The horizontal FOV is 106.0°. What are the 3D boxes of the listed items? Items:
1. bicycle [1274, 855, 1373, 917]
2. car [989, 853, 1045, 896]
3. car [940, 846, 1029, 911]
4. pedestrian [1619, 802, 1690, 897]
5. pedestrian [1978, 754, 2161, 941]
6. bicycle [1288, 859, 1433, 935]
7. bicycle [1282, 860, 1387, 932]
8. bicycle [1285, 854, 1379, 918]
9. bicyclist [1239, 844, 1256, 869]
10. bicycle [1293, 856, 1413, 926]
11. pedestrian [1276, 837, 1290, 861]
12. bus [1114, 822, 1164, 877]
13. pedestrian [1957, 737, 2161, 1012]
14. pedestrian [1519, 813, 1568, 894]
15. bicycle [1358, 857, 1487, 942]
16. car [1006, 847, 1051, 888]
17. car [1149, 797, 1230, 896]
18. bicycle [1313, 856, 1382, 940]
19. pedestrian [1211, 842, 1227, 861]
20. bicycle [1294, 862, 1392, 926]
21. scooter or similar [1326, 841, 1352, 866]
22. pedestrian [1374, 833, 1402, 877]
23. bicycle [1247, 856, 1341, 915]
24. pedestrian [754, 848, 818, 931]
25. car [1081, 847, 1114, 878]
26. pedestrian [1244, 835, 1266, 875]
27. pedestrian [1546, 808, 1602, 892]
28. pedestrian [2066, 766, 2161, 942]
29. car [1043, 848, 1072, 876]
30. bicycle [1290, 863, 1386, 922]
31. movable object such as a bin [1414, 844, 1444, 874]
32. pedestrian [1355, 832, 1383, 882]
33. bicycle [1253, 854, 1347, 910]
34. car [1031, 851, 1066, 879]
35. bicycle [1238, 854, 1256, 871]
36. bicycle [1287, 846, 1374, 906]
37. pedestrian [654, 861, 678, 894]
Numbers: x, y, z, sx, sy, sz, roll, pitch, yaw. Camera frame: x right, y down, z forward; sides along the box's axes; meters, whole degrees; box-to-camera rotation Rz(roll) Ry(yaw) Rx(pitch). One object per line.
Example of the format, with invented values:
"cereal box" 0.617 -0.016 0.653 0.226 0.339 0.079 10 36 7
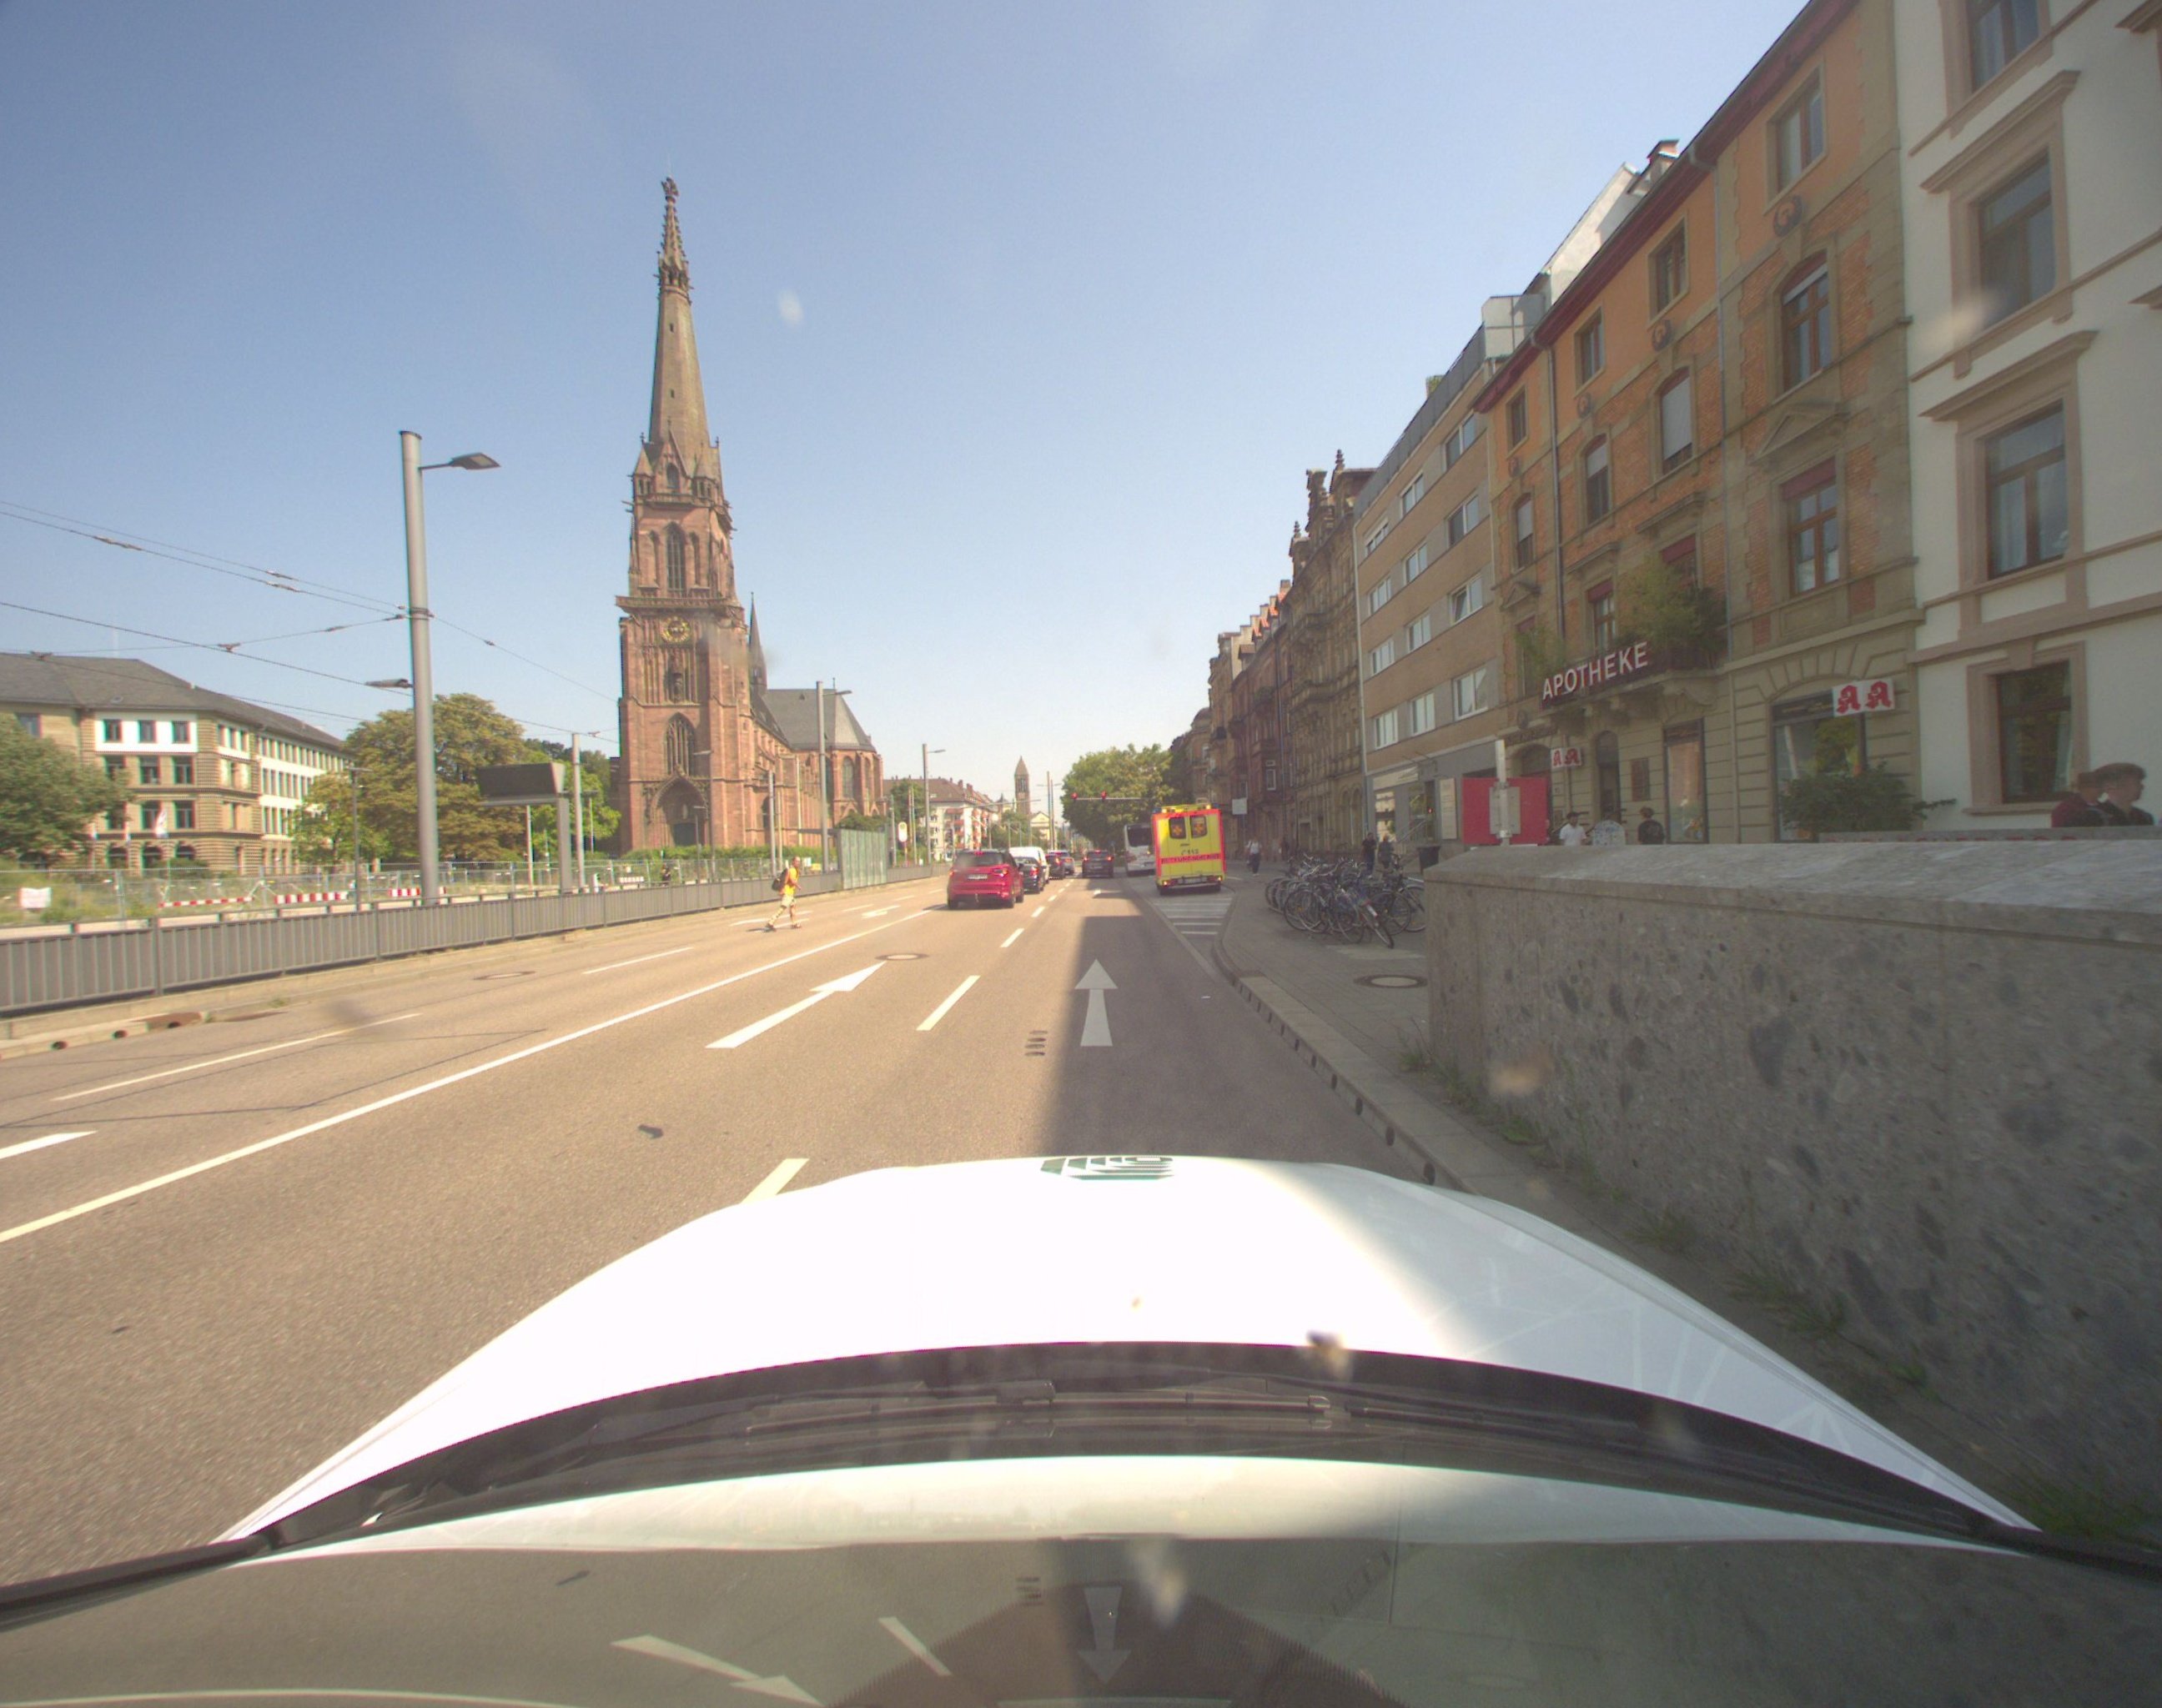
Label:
"bicycle" 4.530 0.595 15.252 1.652 1.071 0.644 -2 1 1
"car" -2.360 0.735 30.889 1.784 1.431 3.999 -3 0 0
"car" -2.631 0.628 23.133 1.755 1.618 4.086 -3 0 3
"pedestrian" 11.644 -0.095 16.546 0.840 1.846 0.684 -4 0 -8
"pedestrian" 10.083 -0.073 8.328 0.681 1.773 1.018 -2 1 1
"bicycle" 4.282 0.647 12.504 2.116 1.071 0.381 -2 1 -3
"bicycle" 4.013 0.659 12.908 1.532 1.071 0.365 -2 1 1
"bicycle" 4.509 0.571 14.654 1.532 1.071 0.472 -2 1 1
"bicyclist" 8.916 0.125 43.633 0.750 1.321 0.582 -3 0 1
"bicycle" 4.451 0.594 13.360 1.828 1.071 0.365 -2 1 1
"pedestrian" 13.572 -0.343 54.704 0.621 1.593 0.695 -3 0 -5
"bus" 3.571 -0.289 52.614 2.524 3.031 12.440 -2 0 1
"pedestrian" 6.997 0.100 5.617 0.845 1.728 0.973 -3 2 8
"pedestrian" 10.377 -0.018 18.296 0.575 1.750 0.679 -5 0 1
"bicycle" 4.875 0.616 11.680 1.544 1.119 0.696 0 1 43
"car" -2.438 0.610 38.529 1.784 1.780 3.999 -2 -1 0
"car" 3.565 -0.265 27.635 2.288 2.888 5.607 -4 0 5
"bicycle" 3.716 0.577 11.452 0.474 1.071 1.506 -3 0 1
"pedestrian" 13.331 -0.254 78.699 1.244 1.751 1.527 -2 2 2
"bicycle" 4.429 0.667 13.808 1.532 1.016 0.365 -2 1 1
"scooter or similar" 12.730 -0.038 40.195 0.514 1.196 1.296 -2 0 -18
"pedestrian" 10.794 0.021 28.631 0.641 1.493 0.789 -2 0 1
"bicycle" 4.169 0.605 16.010 1.652 1.072 0.644 -2 0 1
"pedestrian" -6.481 0.760 17.909 1.075 1.752 0.754 -2 -1 -41
"car" 0.928 0.522 48.154 1.784 1.677 3.999 -2 -1 0
"pedestrian" 7.355 0.024 34.398 0.690 1.667 0.606 -2 0 27
"pedestrian" 11.020 -0.089 18.223 0.597 1.795 0.880 -5 0 1
"pedestrian" 11.177 -0.018 8.437 0.681 1.773 1.018 -2 1 1
"car" -1.521 0.534 54.517 1.784 1.698 3.999 -2 -1 0
"bicycle" 4.481 0.669 14.231 1.532 0.952 0.365 -2 1 1
"movable object such as a bin" 12.567 0.179 29.434 0.651 1.047 0.755 -3 0 -42
"pedestrian" 10.118 0.103 28.654 0.641 1.685 0.789 -2 0 1
"bicycle" 4.488 0.562 16.772 1.767 1.072 0.645 -2 0 5
"car" -1.807 0.603 46.709 1.784 1.472 3.999 -2 -1 0
"bicycle" 8.860 0.420 43.471 0.587 0.854 1.775 -3 0 0
"bicycle" 5.333 0.468 17.477 1.665 1.215 0.645 -2 0 6
"pedestrian" -22.384 1.253 43.962 0.826 1.752 0.721 -2 -1 2
